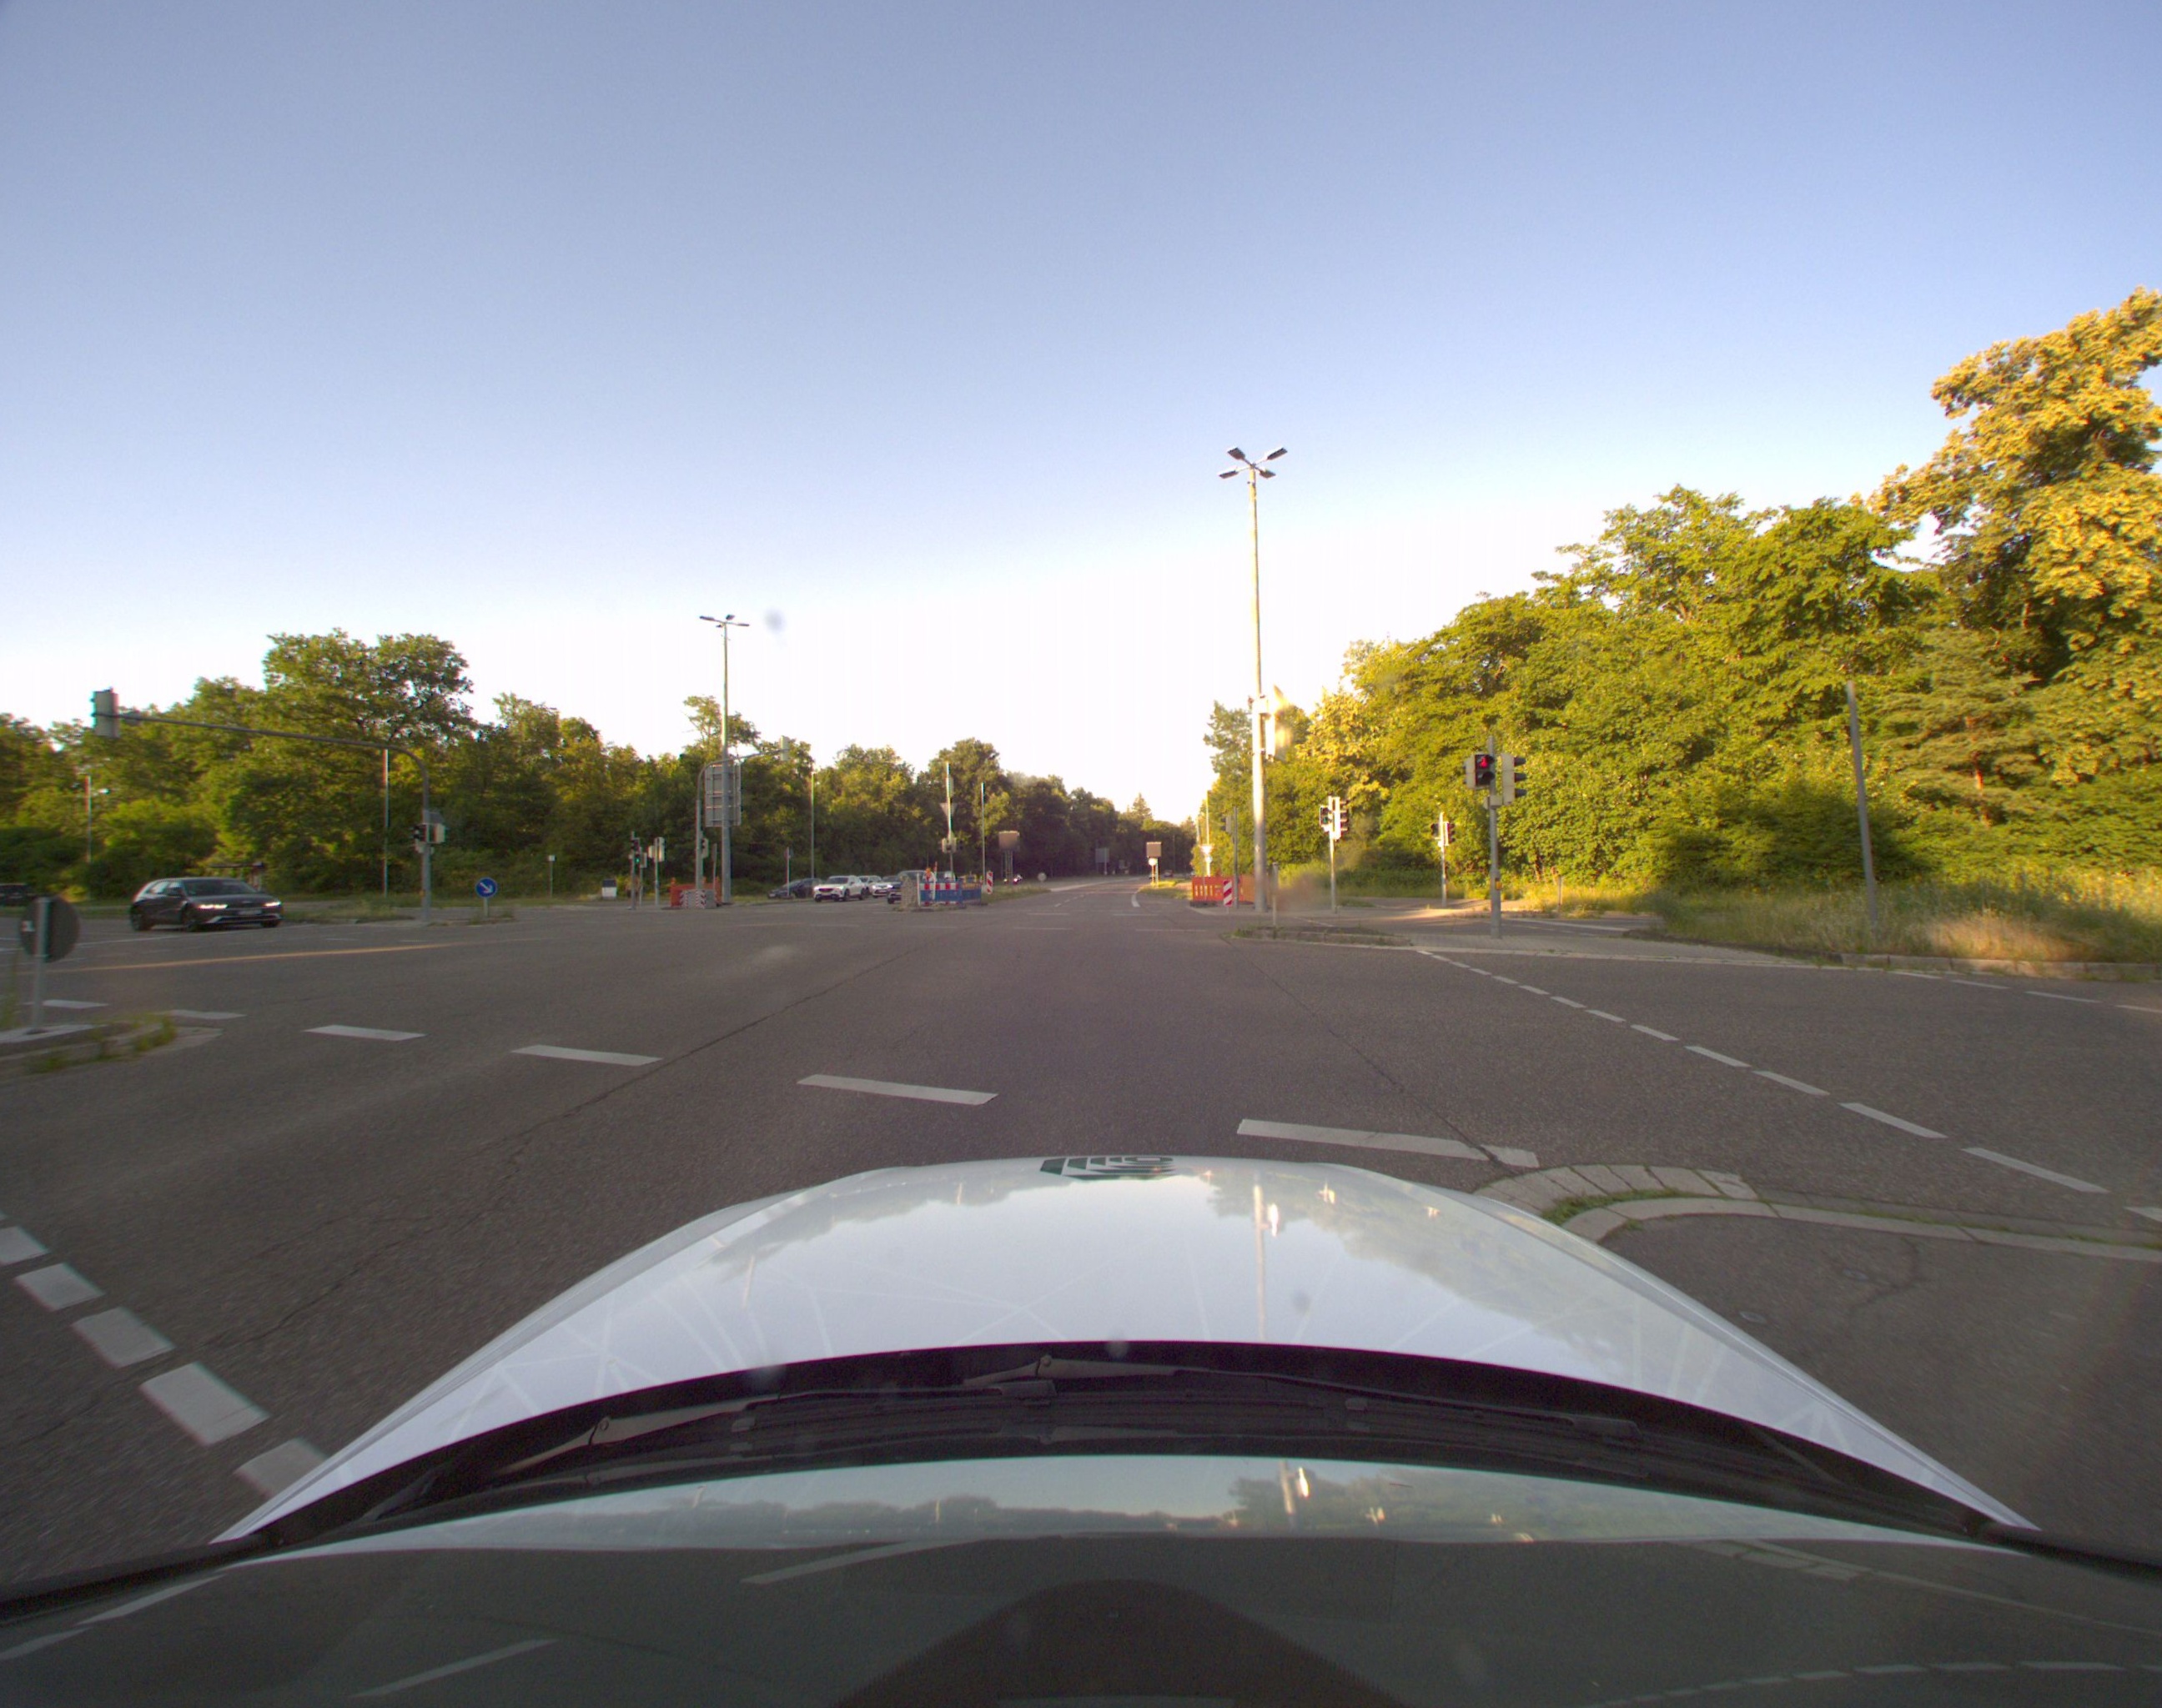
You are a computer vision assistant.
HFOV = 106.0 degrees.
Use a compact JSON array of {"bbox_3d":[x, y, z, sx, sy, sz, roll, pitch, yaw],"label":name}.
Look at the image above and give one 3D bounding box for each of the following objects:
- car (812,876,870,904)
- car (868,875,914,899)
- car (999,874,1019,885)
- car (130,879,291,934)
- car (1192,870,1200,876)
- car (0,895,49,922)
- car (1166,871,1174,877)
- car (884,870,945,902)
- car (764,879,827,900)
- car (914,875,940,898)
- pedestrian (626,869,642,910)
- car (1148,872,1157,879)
[{"bbox_3d":[-13.814,2.020,47.043,1.708,1.456,4.240,-1,-1,6],"label":"car"},{"bbox_3d":[-12.792,2.215,55.030,1.708,1.456,4.239,-1,-1,6],"label":"car"},{"bbox_3d":[-9.825,3.476,111.397,1.869,1.422,4.239,-1,-1,5],"label":"car"},{"bbox_3d":[-26.484,1.564,24.792,3.952,1.520,2.013,-1,-1,22],"label":"car"},{"bbox_3d":[30.570,5.153,217.037,1.565,1.534,3.693,-1,-1,16],"label":"car"},{"bbox_3d":[-59.852,3.017,45.520,3.998,1.327,1.673,0,-1,23],"label":"car"},{"bbox_3d":[20.798,4.612,190.410,1.445,1.244,2.975,-1,-1,15],"label":"car"},{"bbox_3d":[-8.075,1.540,39.917,1.708,1.456,4.240,-1,-1,6],"label":"car"},{"bbox_3d":[-18.236,2.267,52.176,1.587,1.244,3.669,-2,-1,28],"label":"car"},{"bbox_3d":[-14.522,3.014,76.993,1.873,2.024,4.229,-1,-1,-3],"label":"car"},{"bbox_3d":[-19.955,1.559,36.356,0.577,1.801,0.742,0,-1,-30],"label":"pedestrian"},{"bbox_3d":[14.453,4.352,165.162,1.538,1.347,3.122,-1,-1,9],"label":"car"}]
